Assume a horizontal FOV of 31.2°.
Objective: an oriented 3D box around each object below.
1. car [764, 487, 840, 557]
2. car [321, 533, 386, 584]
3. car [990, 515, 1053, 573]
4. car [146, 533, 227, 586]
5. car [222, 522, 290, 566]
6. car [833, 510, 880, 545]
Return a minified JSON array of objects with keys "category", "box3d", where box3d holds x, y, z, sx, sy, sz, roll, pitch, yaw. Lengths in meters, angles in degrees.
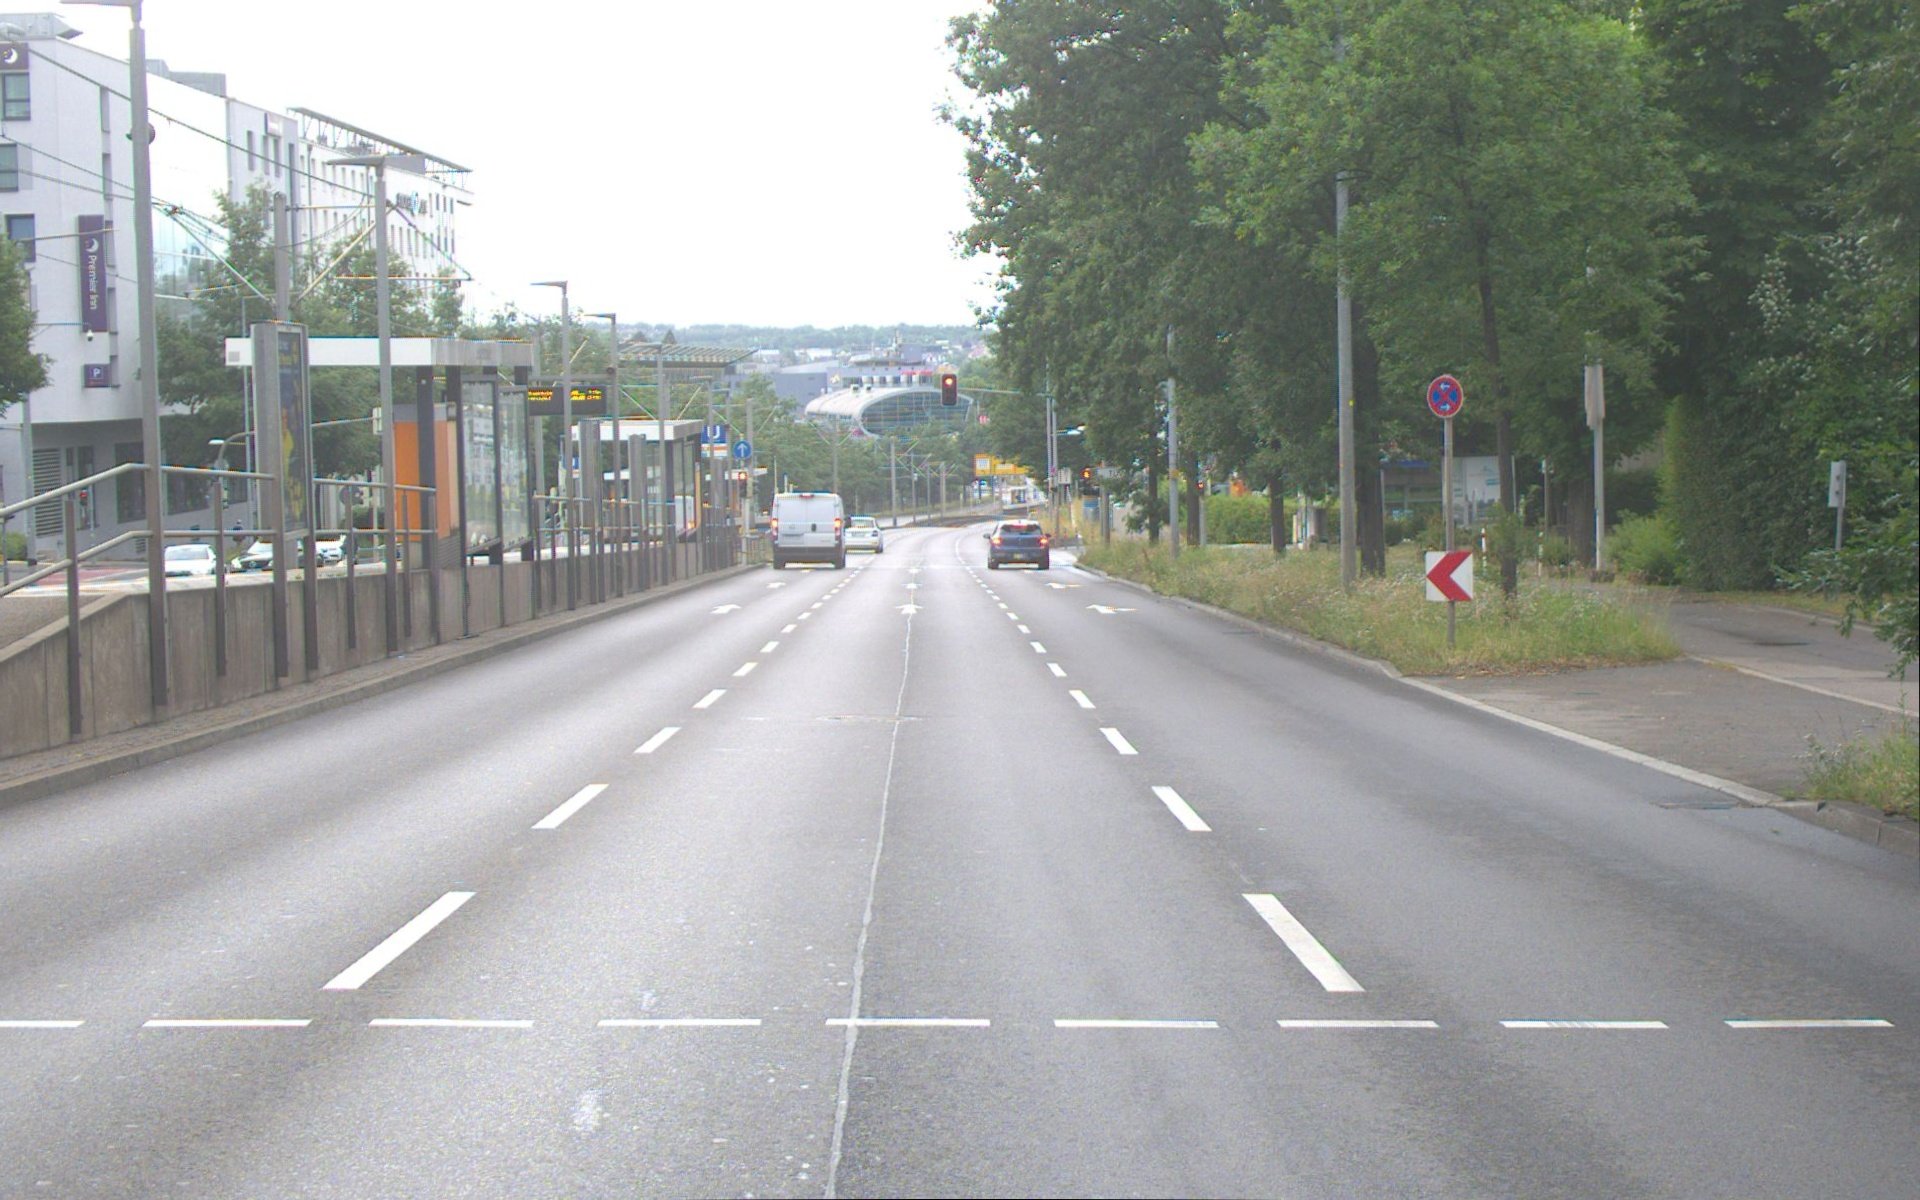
[{"category":"car","box3d":[-4.692,-2.329,102.419,2.093,2.046,4.607,0,1,-1]},{"category":"car","box3d":[-18.447,-1.266,104.449,1.650,1.431,3.881,-3,1,-13]},{"category":"car","box3d":[1.821,-1.681,102.785,1.774,1.685,3.846,0,1,-1]},{"category":"car","box3d":[-22.729,-1.210,101.130,1.650,1.431,3.880,-3,1,-3]},{"category":"car","box3d":[-22.452,-1.800,109.688,1.567,1.374,3.519,0,2,-2]},{"category":"car","box3d":[-4.150,-2.916,138.326,1.783,1.385,4.000,0,1,-1]}]
